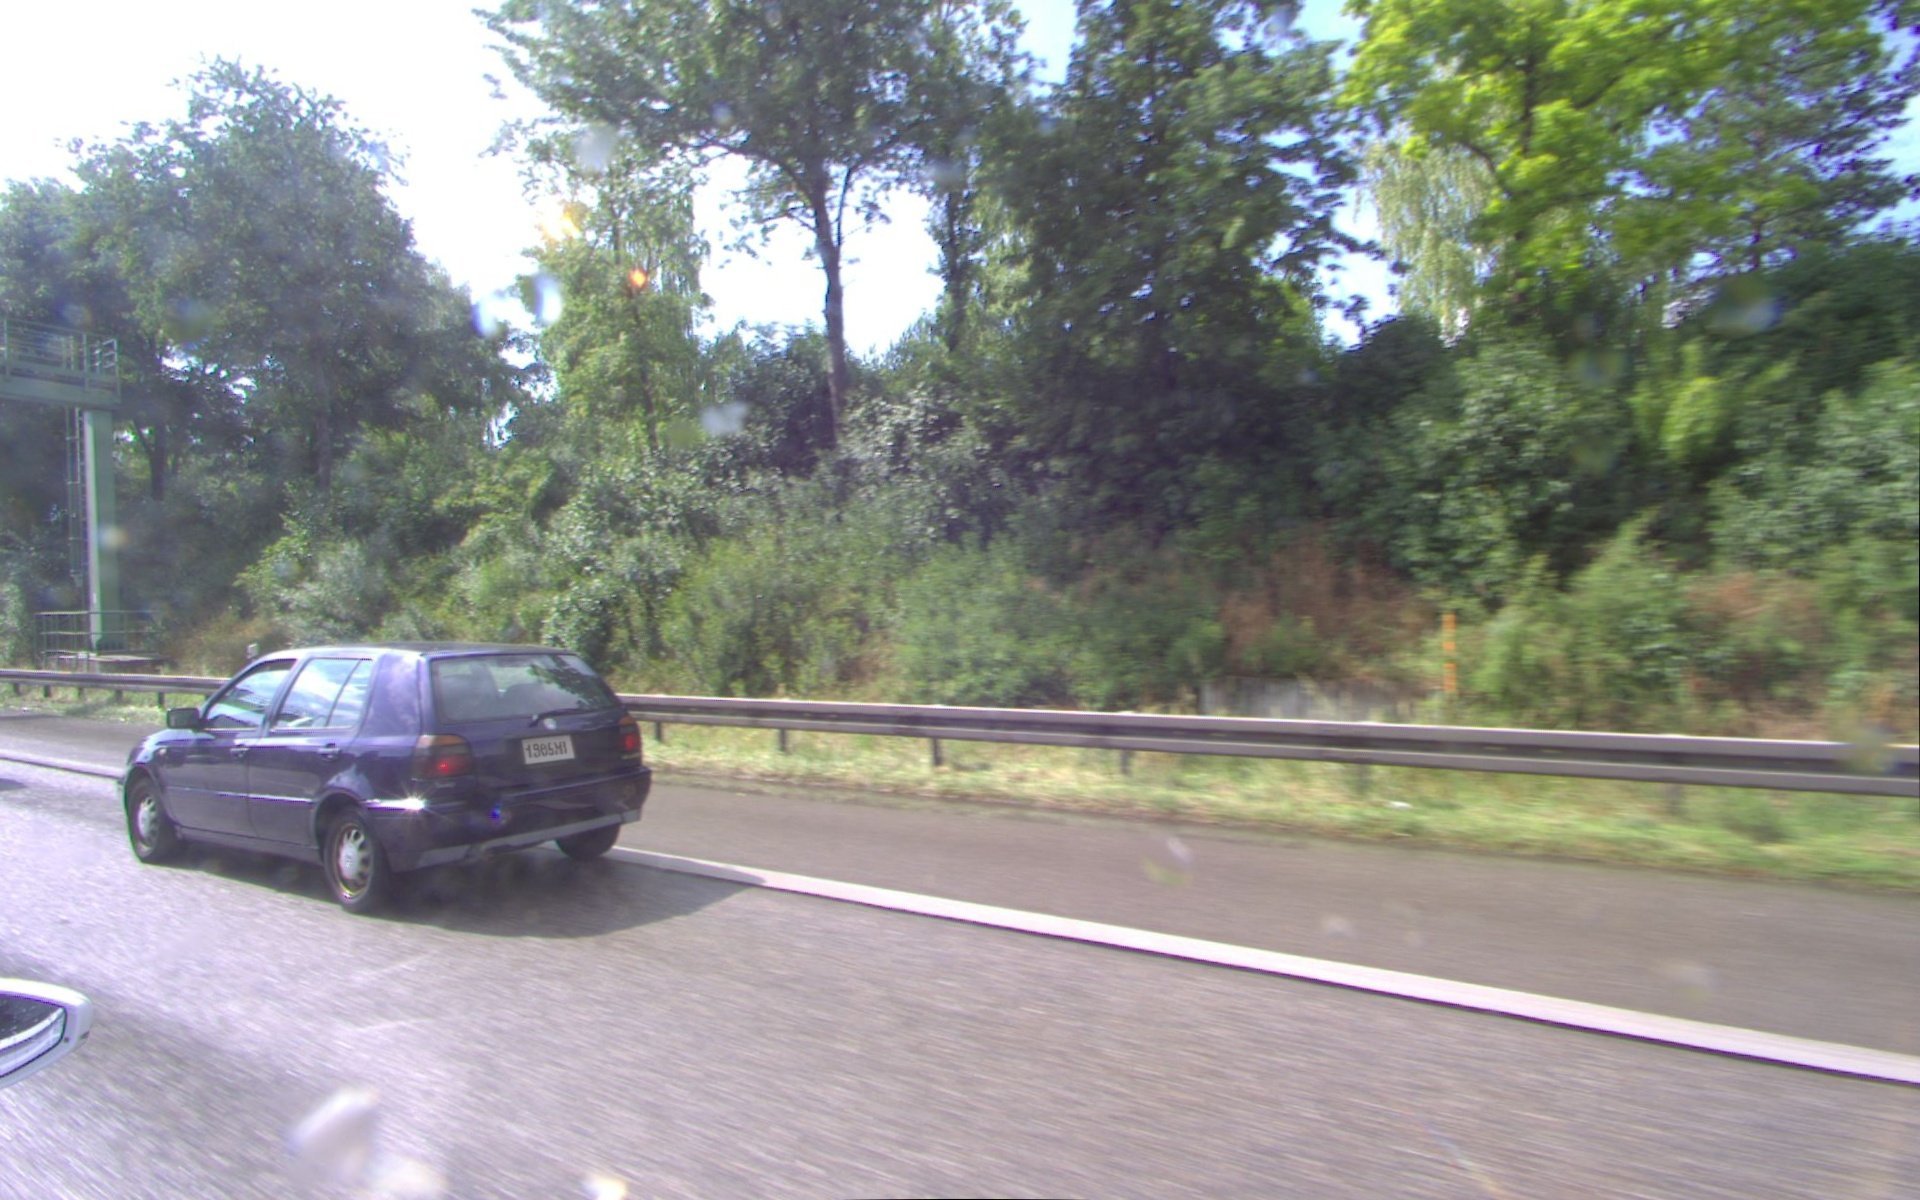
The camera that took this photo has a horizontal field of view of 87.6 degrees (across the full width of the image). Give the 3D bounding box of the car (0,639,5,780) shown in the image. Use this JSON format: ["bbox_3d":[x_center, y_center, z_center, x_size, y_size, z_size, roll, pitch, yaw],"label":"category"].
[{"bbox_3d":[-11.918,1.125,10.499,4.305,1.414,1.752,-1,-2,32],"label":"car"}]

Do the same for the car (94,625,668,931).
[{"bbox_3d":[-3.831,0.915,6.507,3.689,1.475,1.648,-1,-1,31],"label":"car"}]
